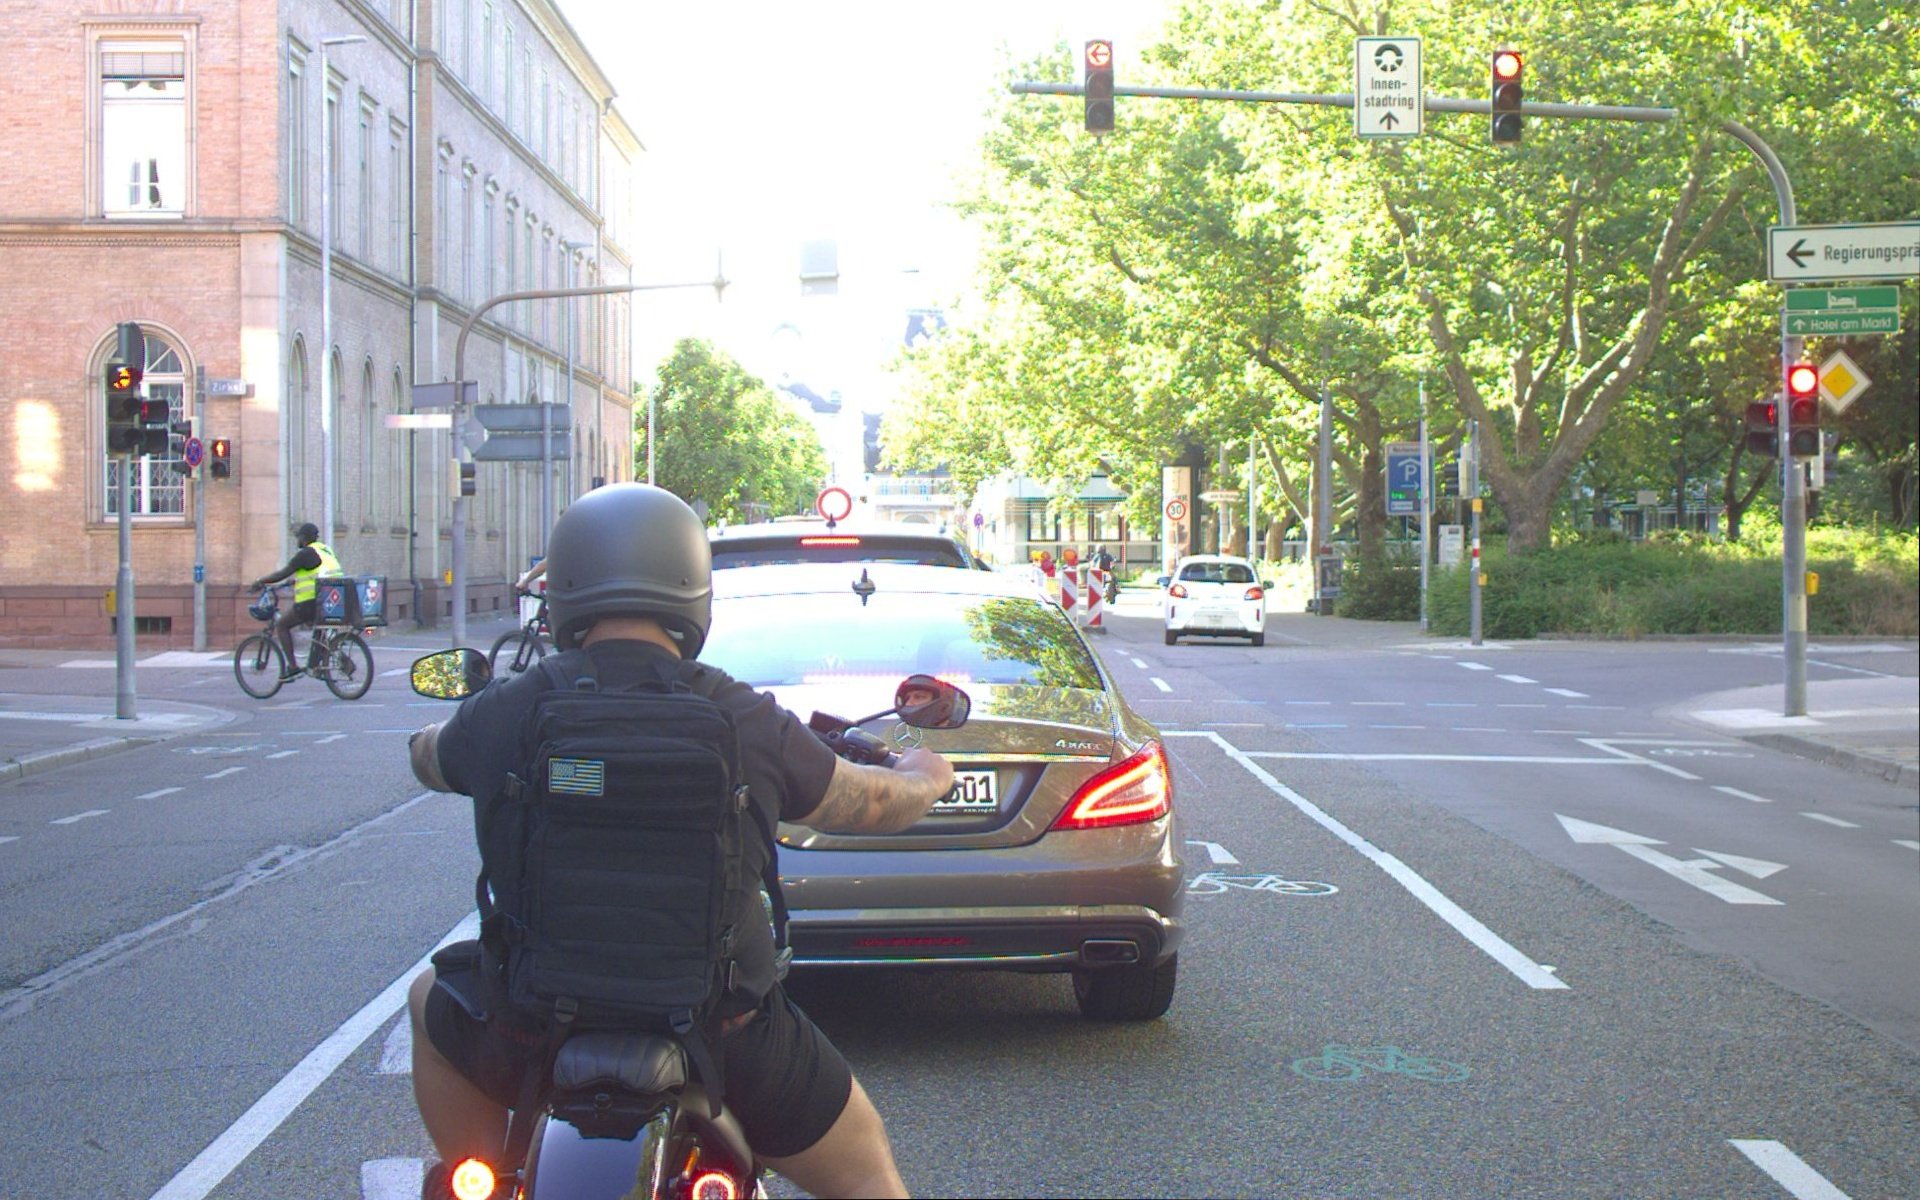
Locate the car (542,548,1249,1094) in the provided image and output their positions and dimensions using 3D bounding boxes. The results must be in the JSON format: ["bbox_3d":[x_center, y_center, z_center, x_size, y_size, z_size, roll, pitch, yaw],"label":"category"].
[{"bbox_3d":[-0.428,0.565,11.606,1.945,1.468,4.363,0,1,-7],"label":"car"}]

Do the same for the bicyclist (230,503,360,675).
[{"bbox_3d":[-6.651,-0.107,34.400,1.046,1.689,0.704,-1,0,29],"label":"bicyclist"}]

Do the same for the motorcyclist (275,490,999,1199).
[{"bbox_3d":[-0.449,0.632,5.411,0.989,1.591,1.404,0,1,-1],"label":"motorcyclist"}]

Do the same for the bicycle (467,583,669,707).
[{"bbox_3d":[-3.634,0.398,31.806,1.877,1.099,0.704,1,1,36],"label":"bicycle"}]

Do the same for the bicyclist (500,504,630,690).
[{"bbox_3d":[-3.658,-0.038,31.813,0.964,1.687,0.704,0,1,35],"label":"bicyclist"}]

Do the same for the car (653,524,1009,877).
[{"bbox_3d":[-0.634,0.415,17.771,1.612,1.602,4.329,0,1,-1],"label":"car"}]

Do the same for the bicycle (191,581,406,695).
[{"bbox_3d":[-6.625,0.379,34.395,2.160,1.099,0.704,-1,0,30],"label":"bicycle"}]

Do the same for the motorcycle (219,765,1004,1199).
[{"bbox_3d":[-0.452,0.887,5.570,0.989,1.075,2.452,0,1,-1],"label":"motorcycle"}]

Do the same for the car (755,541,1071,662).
[{"bbox_3d":[-0.587,0.000,45.276,3.897,1.475,1.826,-2,1,-42],"label":"car"}]

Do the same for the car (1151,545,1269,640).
[{"bbox_3d":[4.106,-0.142,56.551,1.856,1.481,3.908,1,1,4],"label":"car"}]
